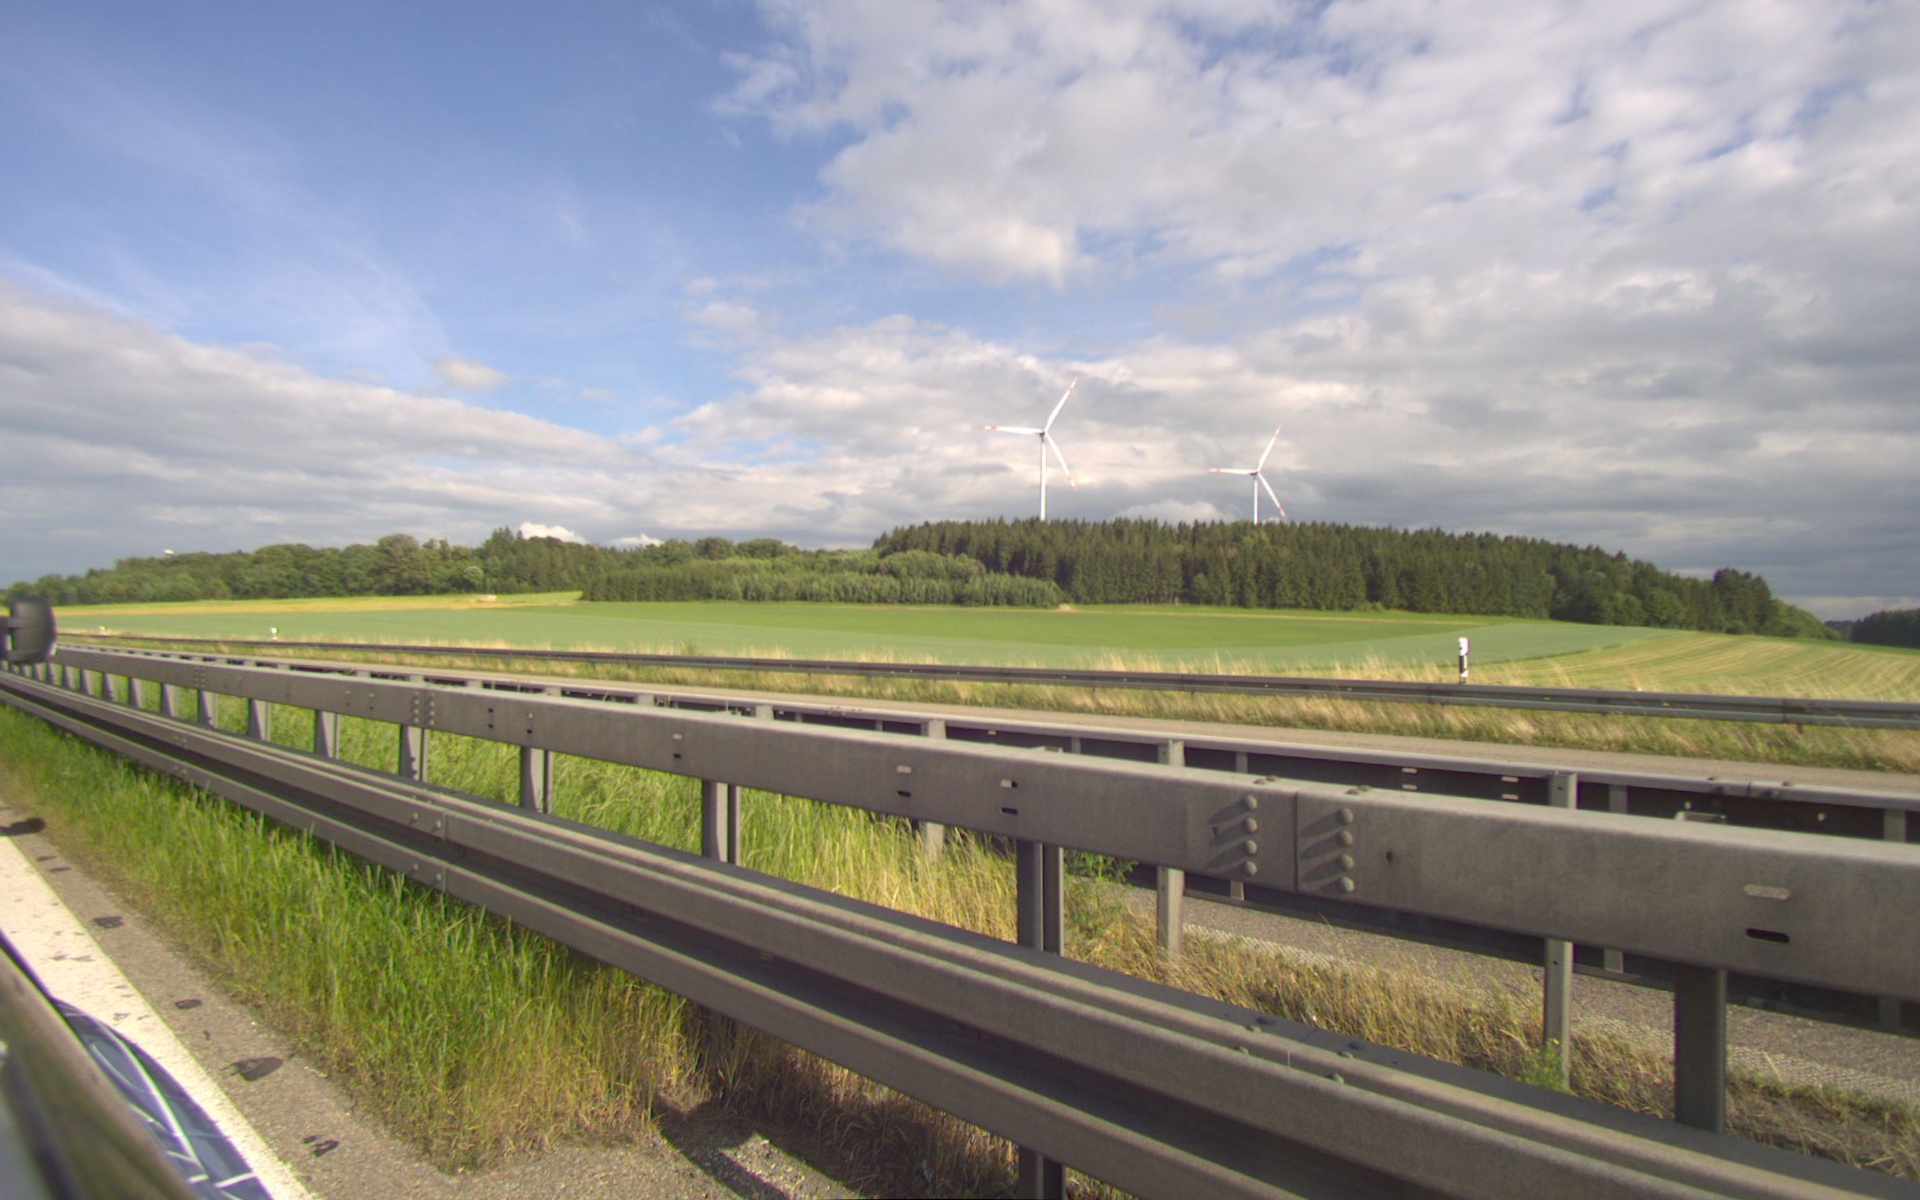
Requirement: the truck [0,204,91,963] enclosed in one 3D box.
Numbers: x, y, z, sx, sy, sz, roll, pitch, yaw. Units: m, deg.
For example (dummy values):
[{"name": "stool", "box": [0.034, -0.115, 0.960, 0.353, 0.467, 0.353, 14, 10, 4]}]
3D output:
[{"name": "truck", "box": [-8.869, 0.043, 7.126, 11.155, 3.183, 2.470, -2, -2, 40]}]
